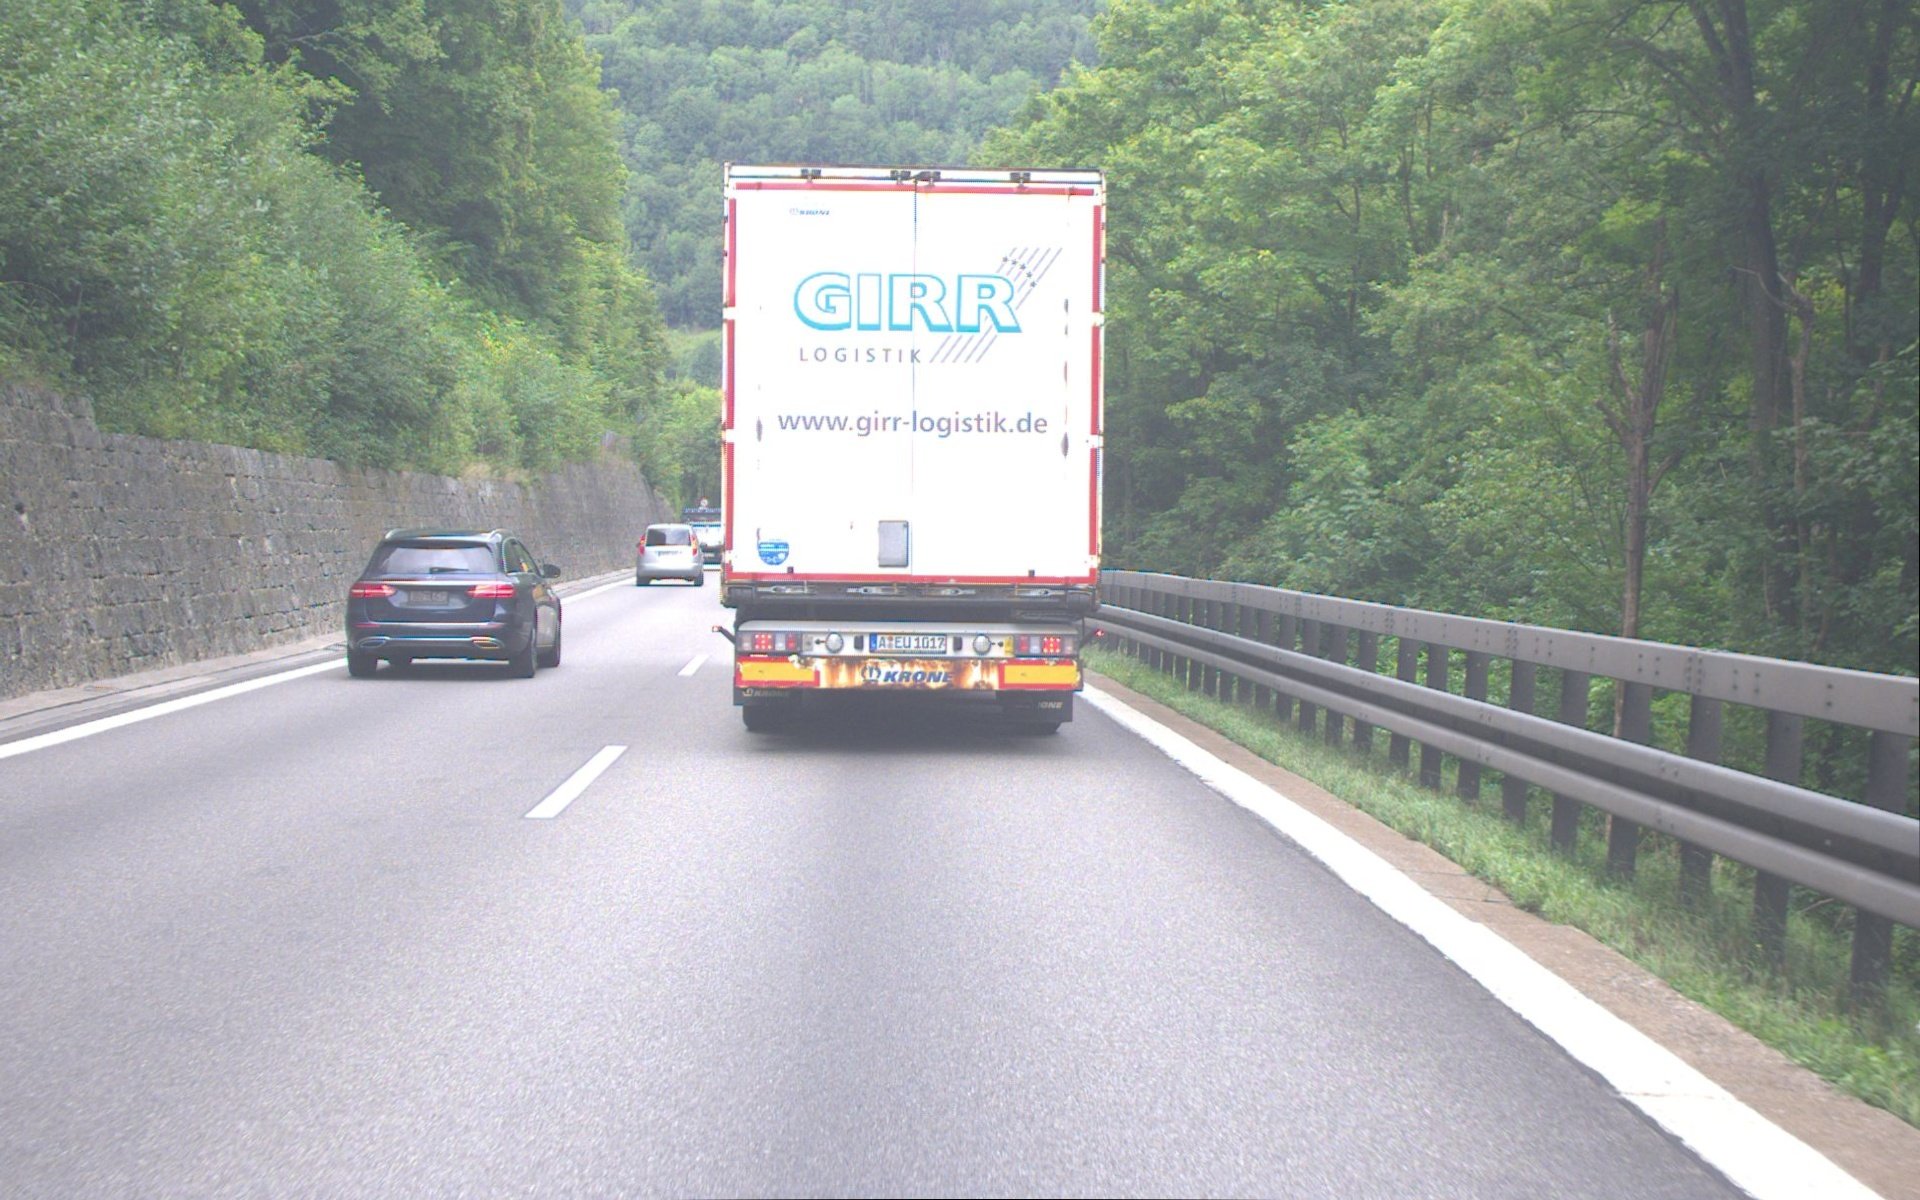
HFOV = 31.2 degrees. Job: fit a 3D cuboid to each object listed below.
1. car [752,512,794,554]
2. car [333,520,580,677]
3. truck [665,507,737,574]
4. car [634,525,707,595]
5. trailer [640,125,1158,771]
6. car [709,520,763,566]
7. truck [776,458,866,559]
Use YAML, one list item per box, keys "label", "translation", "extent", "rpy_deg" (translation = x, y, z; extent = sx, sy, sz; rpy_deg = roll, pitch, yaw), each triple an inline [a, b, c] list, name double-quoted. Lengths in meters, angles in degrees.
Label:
- label: "car"
  translation: [-9.581, -3.426, 176.273]
  extent: [1.993, 2.007, 4.000]
  rpy_deg: [3, 1, -2]
- label: "car"
  translation: [-5.098, -0.072, 35.417]
  extent: [1.760, 1.458, 5.123]
  rpy_deg: [1, 1, 0]
- label: "truck"
  translation: [-9.325, -2.160, 124.200]
  extent: [2.349, 2.266, 6.850]
  rpy_deg: [3, 1, -3]
- label: "car"
  translation: [-7.530, -1.062, 89.642]
  extent: [1.634, 1.720, 4.345]
  rpy_deg: [2, 1, -2]
- label: "trailer"
  translation: [-0.584, -1.118, 27.353]
  extent: [3.133, 4.029, 9.441]
  rpy_deg: [4, 1, -2]
- label: "car"
  translation: [-9.997, -2.555, 153.871]
  extent: [2.018, 1.907, 5.564]
  rpy_deg: [3, 1, -1]
- label: "truck"
  translation: [-5.772, -3.726, 141.340]
  extent: [3.068, 3.864, 8.460]
  rpy_deg: [3, 1, -5]
